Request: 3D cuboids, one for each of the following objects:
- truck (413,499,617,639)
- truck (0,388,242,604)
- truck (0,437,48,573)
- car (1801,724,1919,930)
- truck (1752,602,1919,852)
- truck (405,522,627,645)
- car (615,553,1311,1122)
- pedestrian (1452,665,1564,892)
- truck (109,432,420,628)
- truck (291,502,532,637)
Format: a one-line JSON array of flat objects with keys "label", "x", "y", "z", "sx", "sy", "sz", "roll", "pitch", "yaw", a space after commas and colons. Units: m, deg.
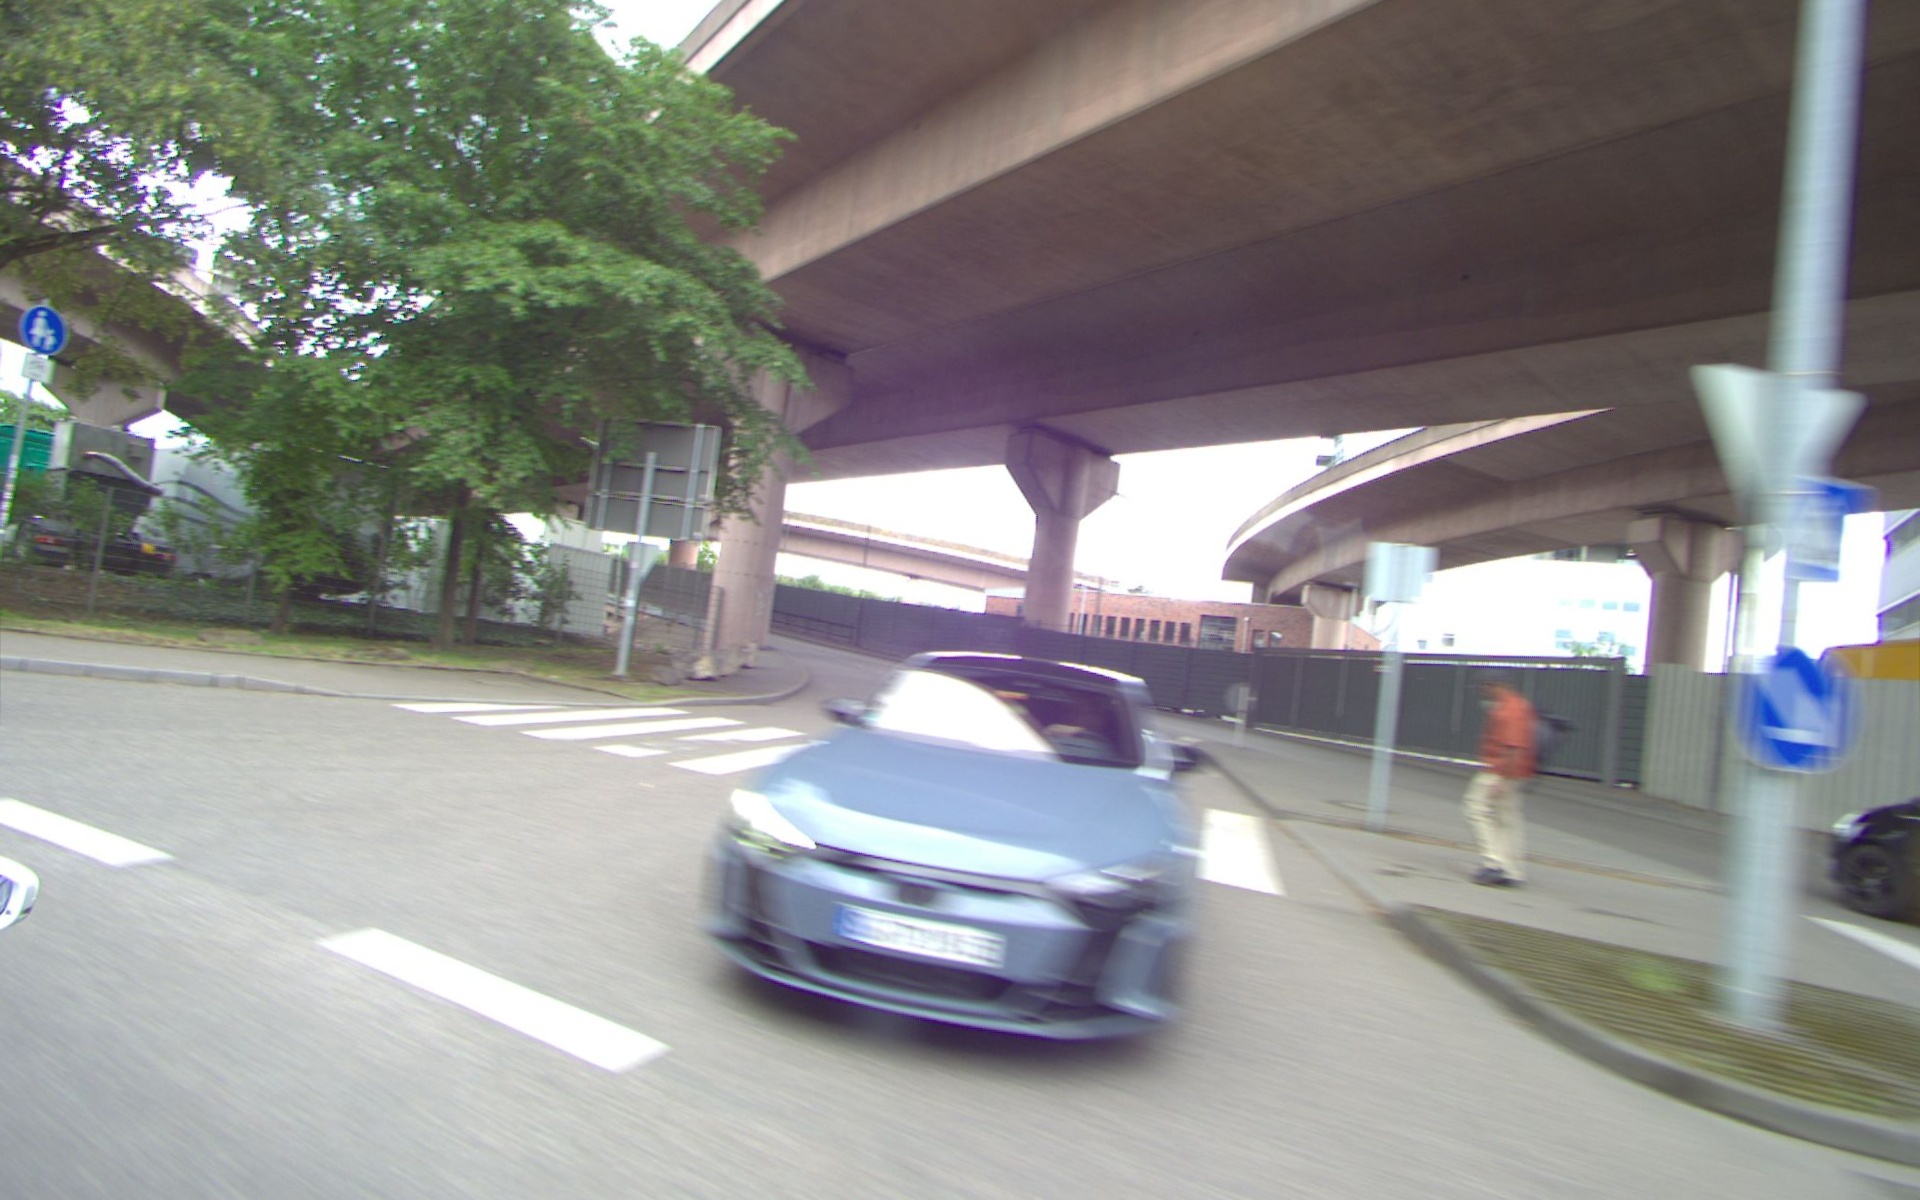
[{"label": "truck", "x": -17.151, "y": -1.264, "z": 38.522, "sx": 7.921, "sy": 4.349, "sz": 3.069, "roll": 7, "pitch": -1, "yaw": 35}, {"label": "truck", "x": -20.001, "y": -2.404, "z": 23.074, "sx": 6.810, "sy": 4.009, "sz": 3.071, "roll": 7, "pitch": -1, "yaw": 33}, {"label": "truck", "x": -38.813, "y": -3.974, "z": 38.942, "sx": 7.922, "sy": 4.835, "sz": 3.206, "roll": 7, "pitch": -1, "yaw": 36}, {"label": "car", "x": 9.346, "y": 2.050, "z": 7.609, "sx": 1.963, "sy": 1.698, "sz": 4.565, "roll": 6, "pitch": -3, "yaw": -1}, {"label": "truck", "x": 20.644, "y": 2.685, "z": 19.888, "sx": 3.088, "sy": 4.955, "sz": 8.734, "roll": 7, "pitch": -4, "yaw": 4}, {"label": "truck", "x": -14.059, "y": -0.543, "z": 31.764, "sx": 6.448, "sy": 2.932, "sz": 2.922, "roll": 7, "pitch": -2, "yaw": 31}, {"label": "car", "x": 0.366, "y": 0.903, "z": 5.695, "sx": 2.132, "sy": 1.518, "sz": 4.941, "roll": 6, "pitch": -3, "yaw": 10}, {"label": "pedestrian", "x": 4.447, "y": 1.416, "z": 8.156, "sx": 0.550, "sy": 1.696, "sz": 0.536, "roll": 6, "pitch": -1, "yaw": 40}, {"label": "truck", "x": -17.595, "y": -1.829, "z": 25.286, "sx": 7.913, "sy": 3.912, "sz": 3.072, "roll": 7, "pitch": -1, "yaw": 31}, {"label": "truck", "x": -15.734, "y": -0.904, "z": 28.769, "sx": 6.448, "sy": 2.932, "sz": 2.922, "roll": 7, "pitch": -2, "yaw": 31}]
